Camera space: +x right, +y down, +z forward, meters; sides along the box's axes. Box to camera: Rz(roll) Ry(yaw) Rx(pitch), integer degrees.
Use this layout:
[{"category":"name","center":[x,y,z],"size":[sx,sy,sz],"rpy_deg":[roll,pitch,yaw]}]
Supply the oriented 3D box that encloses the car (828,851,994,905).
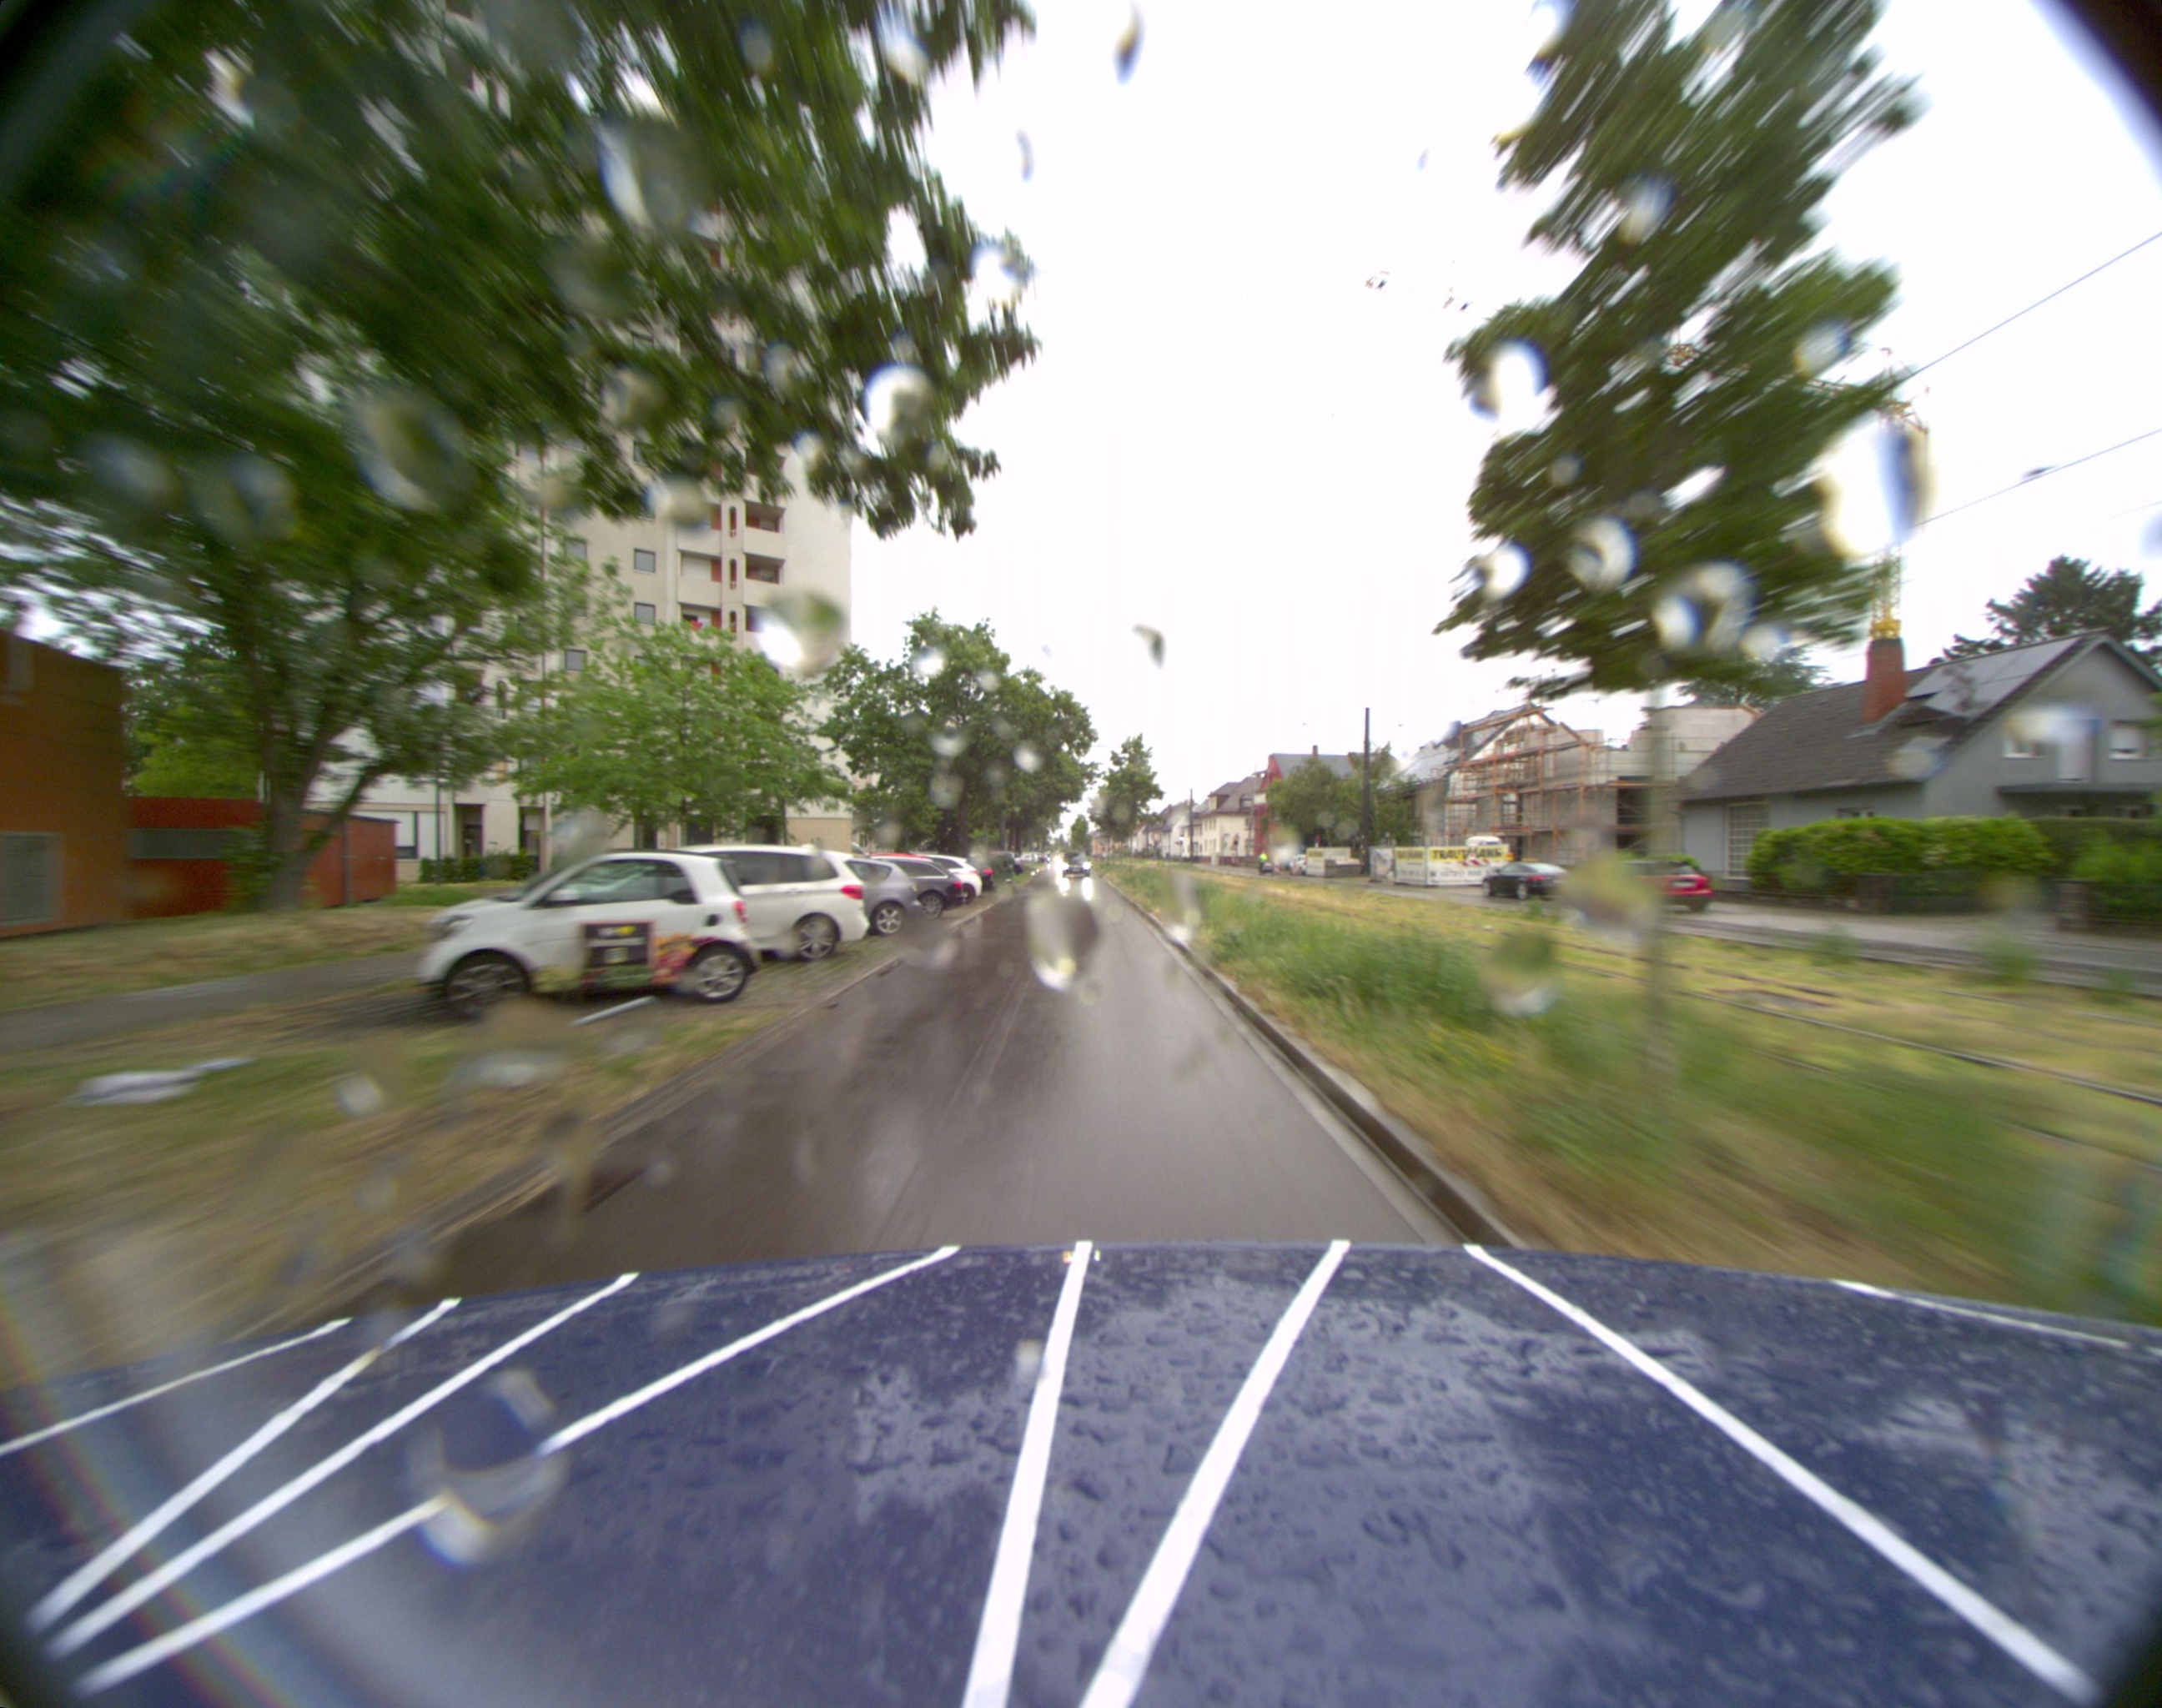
[{"category":"car","center":[-5.050,0.744,22.874],"size":[4.470,1.456,1.815],"rpy_deg":[3,-1,-34]}]

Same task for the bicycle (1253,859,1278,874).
[{"category":"bicycle","center":[13.497,0.923,55.804],"size":[0.937,1.037,3.433],"rpy_deg":[1,0,-1]}]

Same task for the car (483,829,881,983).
[{"category":"car","center":[-5.243,0.645,10.329],"size":[4.471,1.662,1.807],"rpy_deg":[3,-1,-39]}]

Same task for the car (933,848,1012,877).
[{"category":"car","center":[-6.112,0.470,43.153],"size":[4.056,1.479,1.720],"rpy_deg":[3,-1,-35]}]

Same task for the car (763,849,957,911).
[{"category":"car","center":[-5.684,0.707,19.823],"size":[4.471,1.419,1.804],"rpy_deg":[3,-1,-38]}]

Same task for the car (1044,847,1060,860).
[{"category":"car","center":[-4.132,-0.059,108.919],"size":[1.998,1.696,3.999],"rpy_deg":[-1,1,2]}]

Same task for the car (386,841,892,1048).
[{"category":"car","center":[-4.364,0.811,8.043],"size":[4.195,1.662,1.680],"rpy_deg":[3,-1,-36]}]

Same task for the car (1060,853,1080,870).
[{"category":"car","center":[-1.196,0.793,82.974],"size":[1.998,1.762,3.999],"rpy_deg":[-1,1,2]}]

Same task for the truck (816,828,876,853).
[{"category":"truck","center":[-23.661,-1.338,76.539],"size":[5.681,2.424,2.120],"rpy_deg":[-1,2,-18]}]

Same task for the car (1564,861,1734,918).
[{"category":"car","center":[16.152,0.951,21.904],"size":[1.999,1.365,3.842],"rpy_deg":[-1,1,-1]}]

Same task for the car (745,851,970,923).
[{"category":"car","center":[-4.896,0.745,16.924],"size":[4.470,1.419,1.680],"rpy_deg":[3,-1,-33]}]

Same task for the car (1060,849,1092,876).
[{"category":"car","center":[-0.290,0.514,49.955],"size":[1.998,1.611,3.999],"rpy_deg":[-1,1,0]}]

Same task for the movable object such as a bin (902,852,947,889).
[{"category":"movable object such as a bin","center":[-6.417,0.649,31.080],"size":[1.370,1.414,1.183],"rpy_deg":[-2,2,-41]}]

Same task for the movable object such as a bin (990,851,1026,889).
[{"category":"movable object such as a bin","center":[-3.181,0.670,32.860],"size":[1.165,1.553,1.372],"rpy_deg":[-1,2,-23]}]

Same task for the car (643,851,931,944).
[{"category":"car","center":[-5.152,0.761,13.569],"size":[4.470,1.401,1.763],"rpy_deg":[3,-1,-34]}]

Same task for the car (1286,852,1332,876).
[{"category":"car","center":[16.906,0.677,56.499],"size":[1.999,1.618,4.249],"rpy_deg":[-1,1,-2]}]

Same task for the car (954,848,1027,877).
[{"category":"car","center":[-5.481,0.465,46.295],"size":[4.054,1.676,1.720],"rpy_deg":[-1,1,-35]}]

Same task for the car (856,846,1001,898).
[{"category":"car","center":[-5.182,0.640,26.031],"size":[4.469,1.533,1.680],"rpy_deg":[3,1,-31]}]

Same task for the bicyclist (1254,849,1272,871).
[{"category":"bicyclist","center":[13.488,0.437,56.304],"size":[0.956,1.575,1.400],"rpy_deg":[-1,2,0]}]

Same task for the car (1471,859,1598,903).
[{"category":"car","center":[16.055,0.927,27.193],"size":[1.999,1.401,4.174],"rpy_deg":[-1,-1,-1]}]

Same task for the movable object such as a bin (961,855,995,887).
[{"category":"movable object such as a bin","center":[-4.432,0.714,32.701],"size":[0.999,1.305,1.183],"rpy_deg":[-2,2,-37]}]
